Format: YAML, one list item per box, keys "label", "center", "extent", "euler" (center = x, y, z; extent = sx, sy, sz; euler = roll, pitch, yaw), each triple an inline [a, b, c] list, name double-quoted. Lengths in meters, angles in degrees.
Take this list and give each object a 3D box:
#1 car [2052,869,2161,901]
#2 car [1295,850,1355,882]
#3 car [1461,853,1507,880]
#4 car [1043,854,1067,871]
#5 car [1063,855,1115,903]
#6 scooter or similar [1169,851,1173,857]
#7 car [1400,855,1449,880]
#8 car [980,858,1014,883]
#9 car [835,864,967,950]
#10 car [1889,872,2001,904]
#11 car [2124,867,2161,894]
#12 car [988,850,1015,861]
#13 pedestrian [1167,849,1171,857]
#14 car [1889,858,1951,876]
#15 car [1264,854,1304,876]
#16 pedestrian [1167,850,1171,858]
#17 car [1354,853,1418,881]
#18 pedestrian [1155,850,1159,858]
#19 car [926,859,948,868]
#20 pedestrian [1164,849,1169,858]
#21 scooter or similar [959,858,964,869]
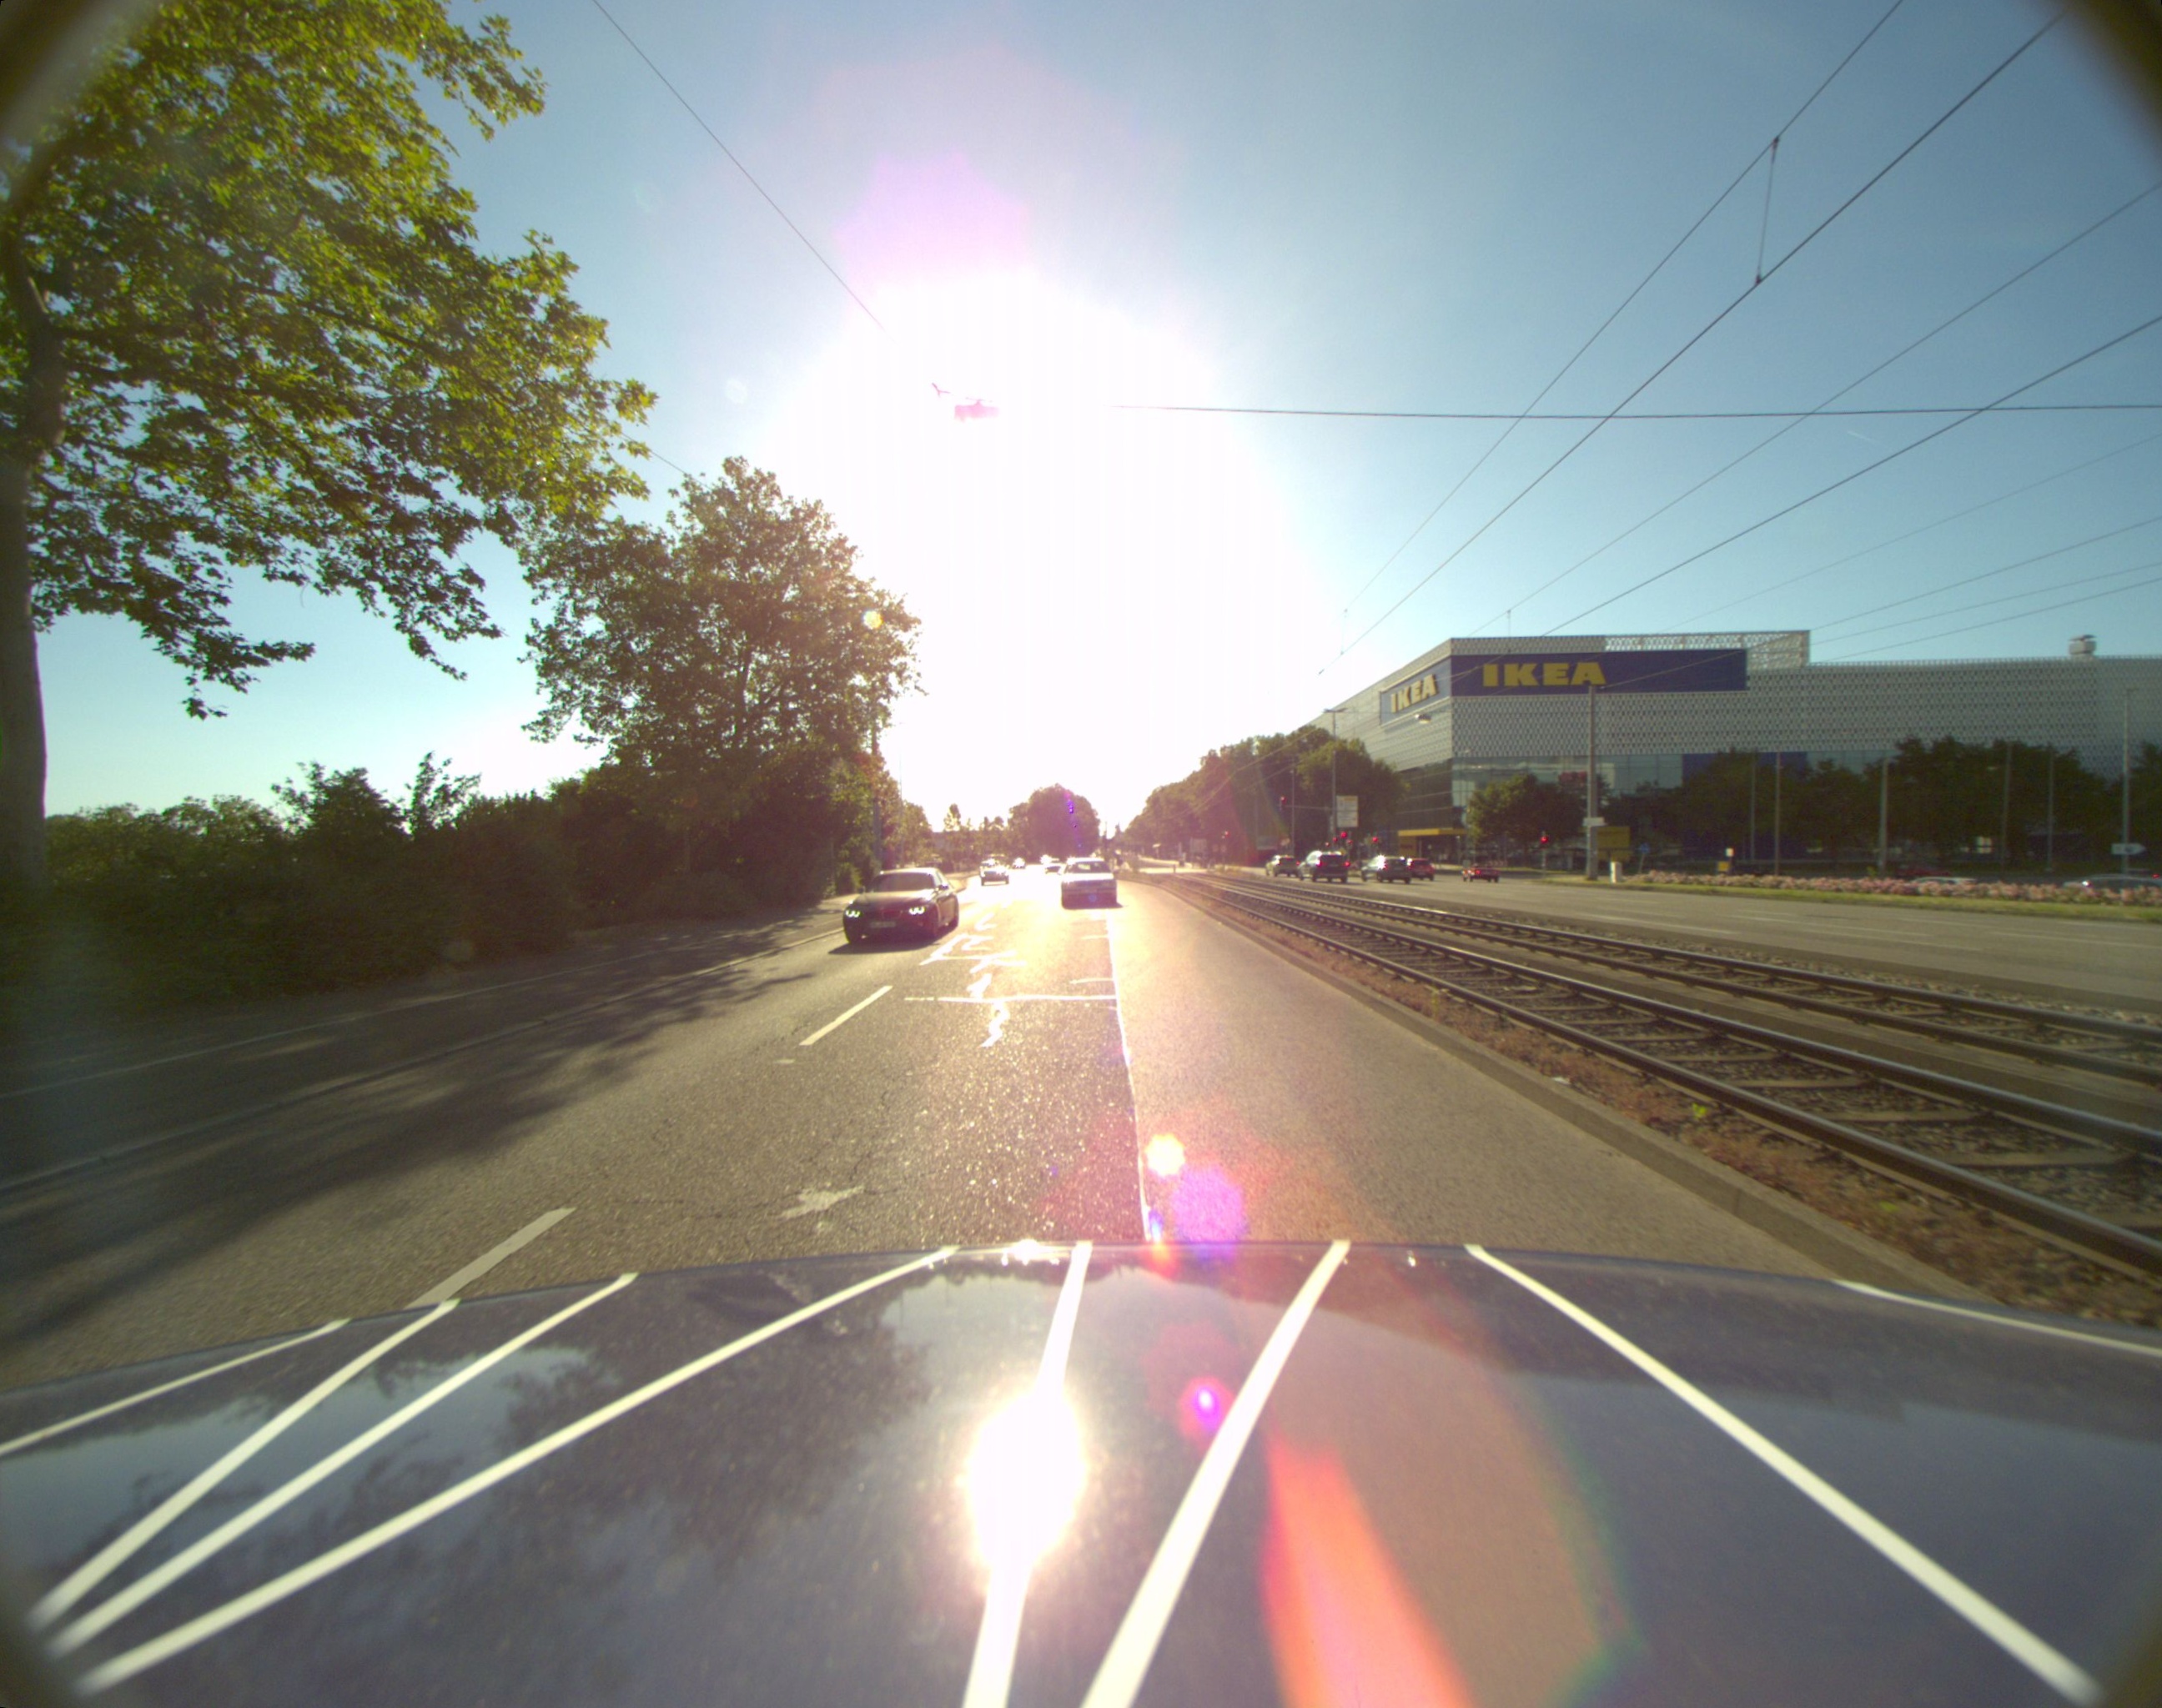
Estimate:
- label: "car"
  center: [64.933, 1.919, 48.021]
  extent: [1.934, 1.734, 3.999]
  euler: [-3, 0, -2]
- label: "car"
  center: [13.523, 0.629, 42.452]
  extent: [1.998, 1.646, 4.659]
  euler: [0, 0, 2]
- label: "car"
  center: [26.008, 0.784, 49.187]
  extent: [1.823, 1.633, 4.005]
  euler: [0, 0, 16]
- label: "car"
  center: [-2.515, 0.793, 73.701]
  extent: [1.871, 1.422, 3.831]
  euler: [-3, 0, 3]
- label: "car"
  center: [0.314, 0.811, 26.203]
  extent: [1.602, 1.440, 3.799]
  euler: [-1, 1, 2]
- label: "scooter or similar"
  center: [16.591, 0.005, 139.904]
  extent: [0.665, 1.227, 1.372]
  euler: [-1, 1, 1]
- label: "car"
  center: [22.441, 0.838, 49.795]
  extent: [1.938, 1.468, 4.134]
  euler: [1, 1, 10]
- label: "car"
  center: [-5.284, 1.024, 48.151]
  extent: [1.857, 1.415, 3.978]
  euler: [-2, 0, -4]
- label: "car"
  center: [-3.808, 1.061, 16.910]
  extent: [1.871, 1.459, 4.585]
  euler: [-2, 1, -1]
- label: "car"
  center: [55.128, 2.123, 48.607]
  extent: [1.999, 1.700, 4.416]
  euler: [-3, 0, -3]
- label: "car"
  center: [69.623, 1.718, 47.972]
  extent: [1.934, 1.583, 3.999]
  euler: [-3, 0, -2]
- label: "car"
  center: [-17.104, 0.280, 163.669]
  extent: [5.350, 2.010, 2.104]
  euler: [-3, 0, 0]
- label: "pedestrian"
  center: [16.514, -0.203, 142.748]
  extent: [0.603, 1.611, 0.691]
  euler: [-3, 1, 6]
- label: "car"
  center: [76.326, 1.152, 69.176]
  extent: [3.583, 1.452, 1.771]
  euler: [1, 1, 0]
- label: "car"
  center: [14.093, 0.743, 52.944]
  extent: [1.787, 1.439, 4.108]
  euler: [0, 0, 2]
- label: "pedestrian"
  center: [16.722, -0.010, 144.133]
  extent: [0.652, 1.611, 0.635]
  euler: [-3, 1, 5]
- label: "car"
  center: [16.875, 0.706, 42.270]
  extent: [1.861, 1.452, 4.137]
  euler: [-1, 0, 0]
- label: "pedestrian"
  center: [15.997, -0.091, 159.538]
  extent: [0.763, 1.700, 0.678]
  euler: [0, 1, 3]
- label: "car"
  center: [-32.605, 2.136, 172.103]
  extent: [4.661, 1.560, 1.859]
  euler: [-3, 0, -1]
- label: "pedestrian"
  center: [16.575, -0.038, 147.326]
  extent: [0.733, 1.682, 0.687]
  euler: [-3, 1, 1]
- label: "scooter or similar"
  center: [-14.538, 1.163, 92.371]
  extent: [0.525, 1.224, 1.265]
  euler: [-1, 1, -12]
